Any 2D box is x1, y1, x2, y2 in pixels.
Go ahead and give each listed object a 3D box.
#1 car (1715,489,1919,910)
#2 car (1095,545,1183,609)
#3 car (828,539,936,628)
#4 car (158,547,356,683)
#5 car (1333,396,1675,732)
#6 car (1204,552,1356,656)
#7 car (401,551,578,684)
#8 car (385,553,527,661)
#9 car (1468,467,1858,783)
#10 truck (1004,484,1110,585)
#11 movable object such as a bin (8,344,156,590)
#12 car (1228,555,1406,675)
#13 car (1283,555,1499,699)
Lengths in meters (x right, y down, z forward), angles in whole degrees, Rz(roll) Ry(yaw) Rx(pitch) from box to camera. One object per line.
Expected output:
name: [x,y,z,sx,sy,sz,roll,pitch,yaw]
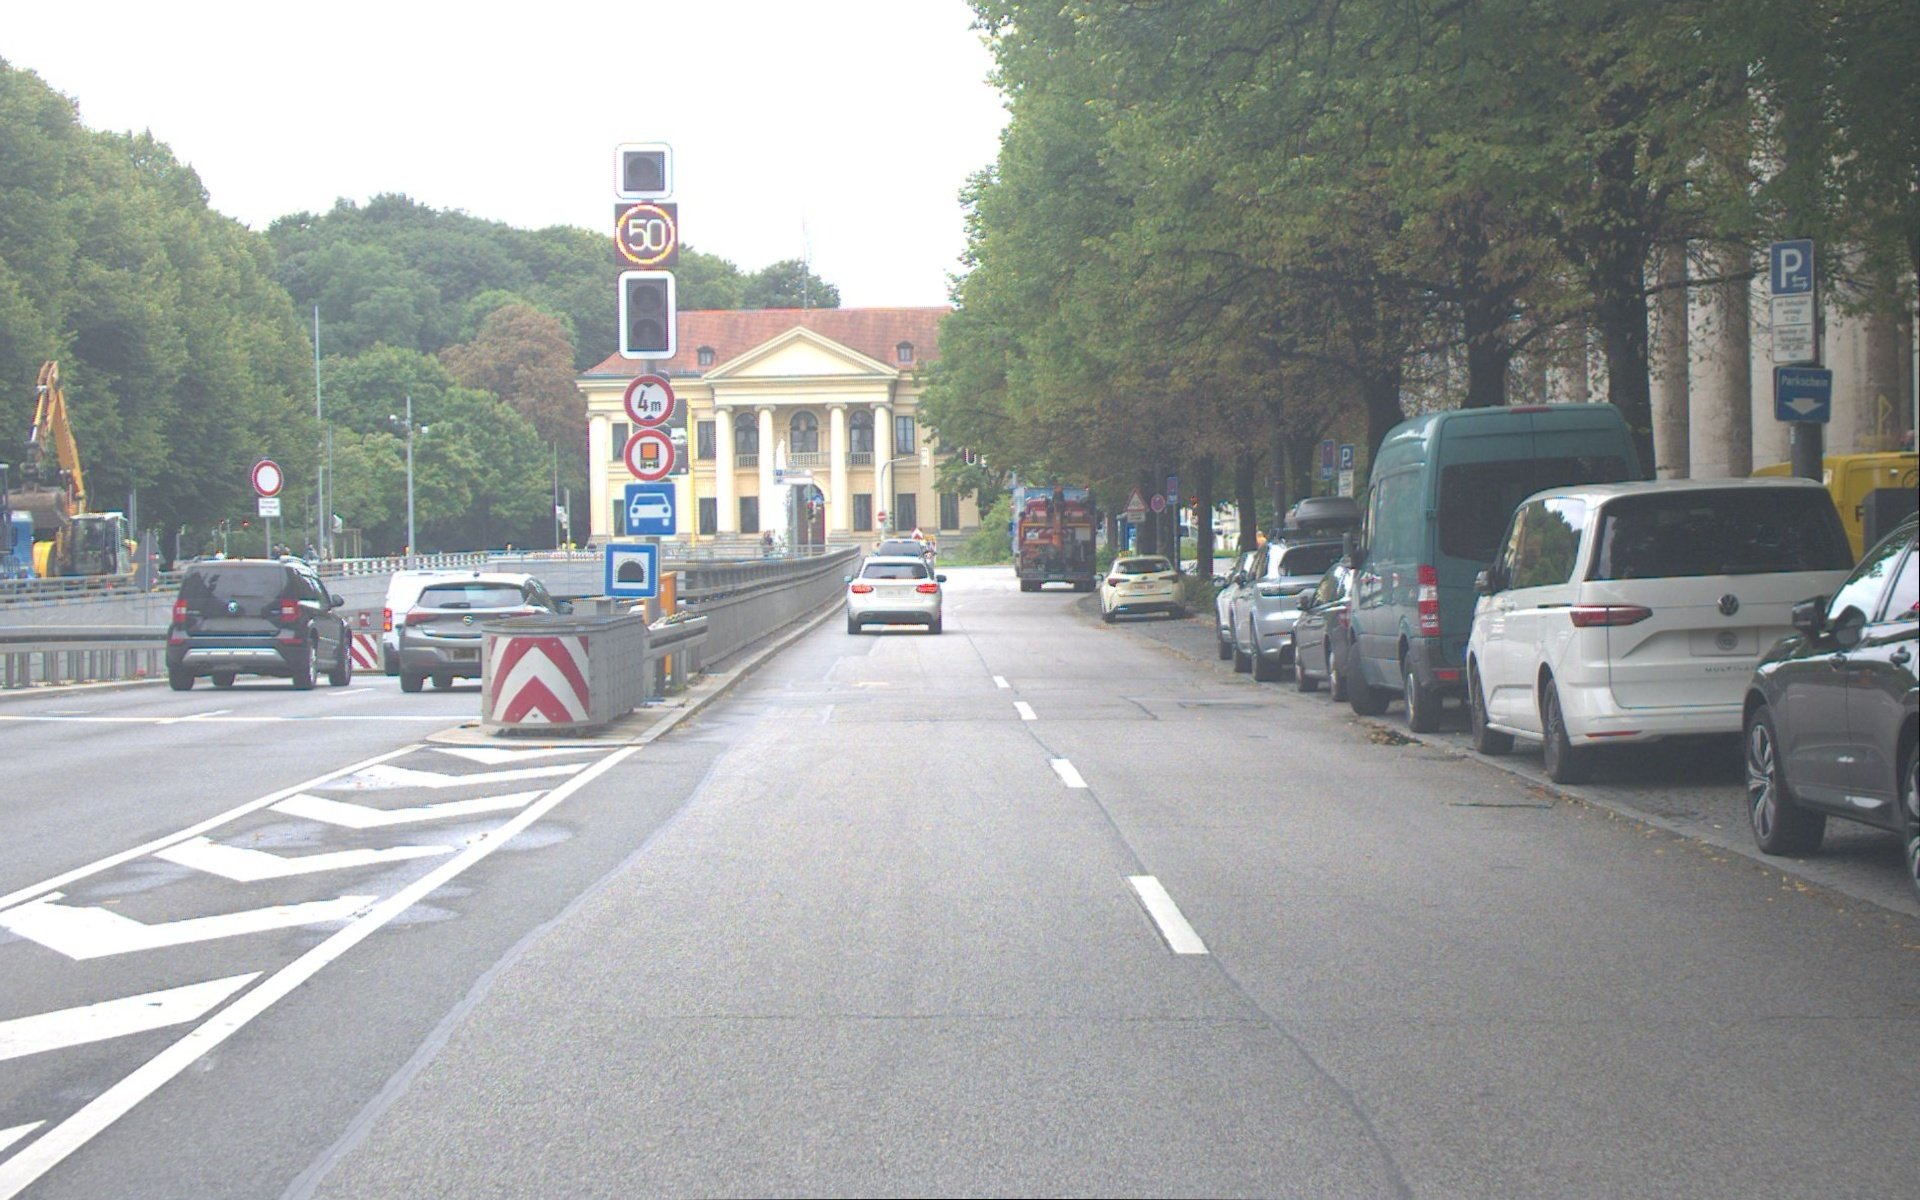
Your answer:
car: [4.637,0.350,14.873,1.724,1.659,4.590,-1,1,0]
car: [3.948,-0.529,76.287,1.724,1.319,4.028,-1,1,0]
car: [-1.524,-0.344,65.783,1.779,1.639,4.001,0,1,-5]
car: [-8.972,0.154,44.174,1.722,1.631,4.205,-1,1,-1]
car: [4.555,-0.328,29.545,1.993,2.634,4.878,0,1,-2]
car: [4.382,0.024,47.592,1.724,1.319,4.028,-1,1,0]
car: [-5.793,0.182,42.702,1.710,1.546,4.000,0,1,-1]
car: [-9.065,0.096,62.165,1.898,1.841,4.956,-1,1,-1]
car: [4.519,0.115,22.663,1.724,1.861,4.028,-1,1,0]
truck: [3.292,-2.263,118.790,3.325,3.355,8.663,0,1,0]
movable object such as a bin: [-23.880,-3.576,93.697,2.699,6.488,5.176,0,1,0]
car: [4.260,0.142,41.516,1.724,1.319,4.028,-1,1,0]
car: [4.414,0.237,35.723,1.724,1.359,4.028,-1,1,0]
